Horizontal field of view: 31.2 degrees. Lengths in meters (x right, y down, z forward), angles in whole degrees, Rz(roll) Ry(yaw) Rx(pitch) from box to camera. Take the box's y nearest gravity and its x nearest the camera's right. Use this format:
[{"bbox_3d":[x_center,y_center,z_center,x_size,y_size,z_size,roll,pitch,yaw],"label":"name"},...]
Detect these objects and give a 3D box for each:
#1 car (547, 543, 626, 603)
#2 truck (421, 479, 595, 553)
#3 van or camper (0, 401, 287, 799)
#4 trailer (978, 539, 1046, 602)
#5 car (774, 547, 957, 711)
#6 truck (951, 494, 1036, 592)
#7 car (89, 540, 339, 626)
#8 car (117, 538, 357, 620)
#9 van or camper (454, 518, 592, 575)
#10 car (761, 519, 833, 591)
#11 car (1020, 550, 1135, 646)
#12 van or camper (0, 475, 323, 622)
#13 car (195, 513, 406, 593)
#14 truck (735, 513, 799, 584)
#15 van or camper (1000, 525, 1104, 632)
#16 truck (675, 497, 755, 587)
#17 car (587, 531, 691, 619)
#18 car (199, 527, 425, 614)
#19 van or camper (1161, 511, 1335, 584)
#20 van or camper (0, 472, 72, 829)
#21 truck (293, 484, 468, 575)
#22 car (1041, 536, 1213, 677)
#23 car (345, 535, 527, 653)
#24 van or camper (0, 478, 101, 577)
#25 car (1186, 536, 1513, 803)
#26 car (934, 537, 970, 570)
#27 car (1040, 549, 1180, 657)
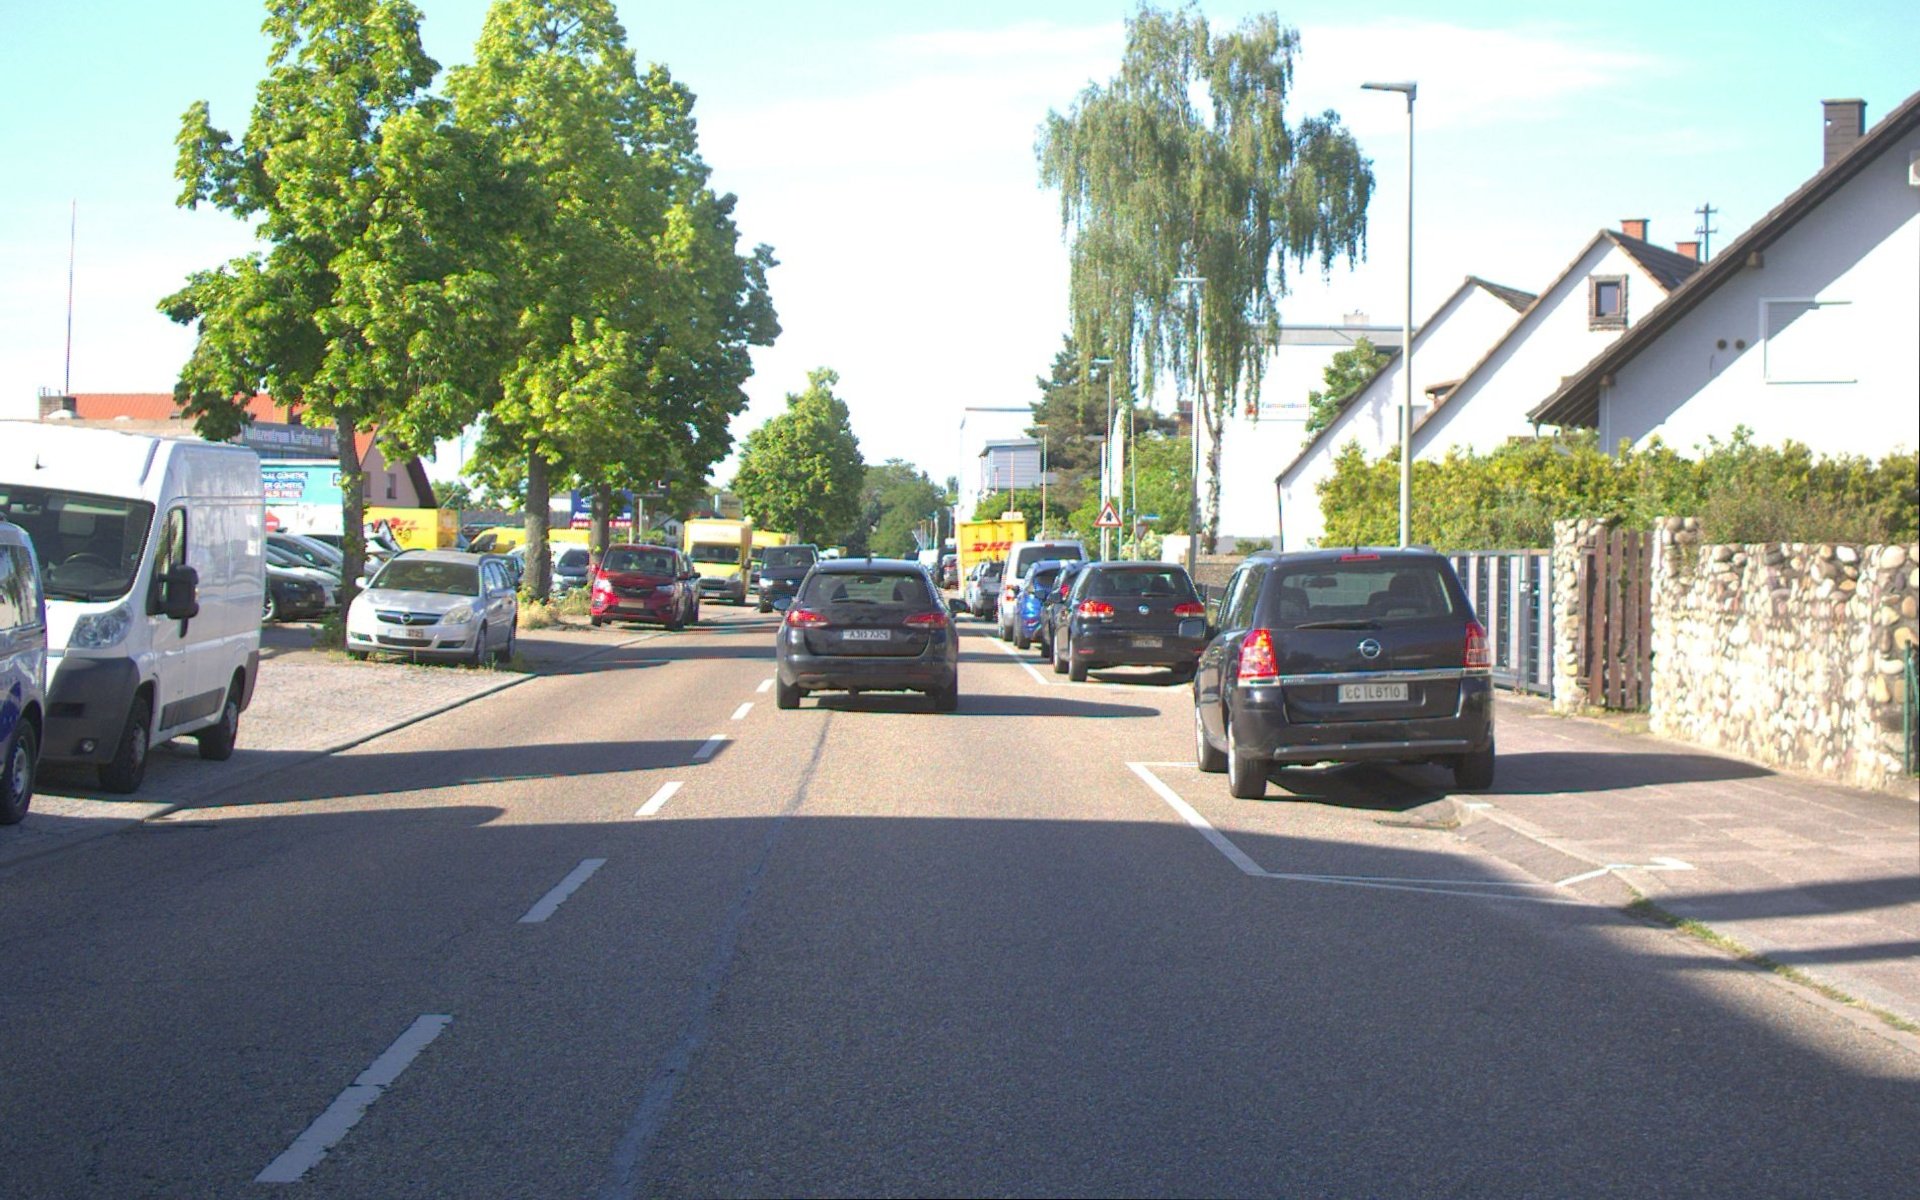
[{"bbox_3d":[-10.502,-0.747,96.929,1.861,1.584,4.276,0,-1,-2],"label":"car"},{"bbox_3d":[-16.748,-3.102,127.363,5.924,2.559,2.223,2,1,11],"label":"truck"},{"bbox_3d":[-6.451,-0.104,24.674,2.122,2.481,5.556,4,1,-1],"label":"van or camper"},{"bbox_3d":[1.275,-0.751,85.386,1.627,1.533,3.198,0,1,0],"label":"trailer"},{"bbox_3d":[-0.892,0.245,34.268,1.711,1.527,3.687,0,1,0],"label":"car"},{"bbox_3d":[1.030,-1.802,109.399,2.402,2.926,7.017,-2,1,-1],"label":"truck"},{"bbox_3d":[-13.976,-0.329,64.510,4.249,1.536,1.765,1,1,5],"label":"car"},{"bbox_3d":[-14.015,-0.419,66.758,4.249,1.536,1.766,0,2,4],"label":"car"},{"bbox_3d":[-15.778,-1.938,124.302,4.544,2.007,2.250,0,1,6],"label":"van or camper"},{"bbox_3d":[-4.792,-1.342,101.645,1.894,2.024,4.818,-1,1,-1],"label":"car"},{"bbox_3d":[1.924,-0.058,57.177,1.718,1.499,3.564,1,1,-1],"label":"car"},{"bbox_3d":[-13.288,-0.853,56.865,4.895,2.312,2.242,1,0,12],"label":"van or camper"},{"bbox_3d":[-14.541,-1.041,75.875,4.249,1.723,1.765,0,1,5],"label":"car"},{"bbox_3d":[-8.427,-2.267,150.740,2.402,2.973,6.374,2,1,-1],"label":"truck"},{"bbox_3d":[1.667,-0.415,63.373,1.718,1.884,4.180,1,1,-1],"label":"van or camper"},{"bbox_3d":[-8.450,-2.002,119.216,2.402,2.973,7.246,2,1,-2],"label":"truck"},{"bbox_3d":[-6.796,-0.544,73.125,1.803,1.746,4.342,2,1,-1],"label":"car"},{"bbox_3d":[-13.210,-0.619,70.238,4.249,1.746,1.766,0,1,3],"label":"car"},{"bbox_3d":[10.191,-1.856,121.558,5.812,2.532,2.290,0,1,-27],"label":"van or camper"},{"bbox_3d":[-6.276,0.255,18.384,1.878,2.007,4.279,3,1,0],"label":"van or camper"},{"bbox_3d":[-21.138,-2.575,125.475,5.671,3.109,2.522,2,1,10],"label":"truck"},{"bbox_3d":[2.047,0.048,43.197,1.775,1.653,3.817,1,1,-3],"label":"car"},{"bbox_3d":[-6.985,-0.118,46.186,1.687,1.430,4.209,3,1,1],"label":"car"},{"bbox_3d":[-26.846,-2.059,98.149,2.166,2.706,6.267,1,1,10],"label":"van or camper"},{"bbox_3d":[2.605,0.402,23.910,1.776,1.653,4.304,1,1,0],"label":"car"},{"bbox_3d":[-0.475,-2.568,189.363,1.919,1.819,4.080,0,1,-1],"label":"car"},{"bbox_3d":[2.167,0.015,50.569,1.718,1.499,3.907,1,1,-2],"label":"car"}]
